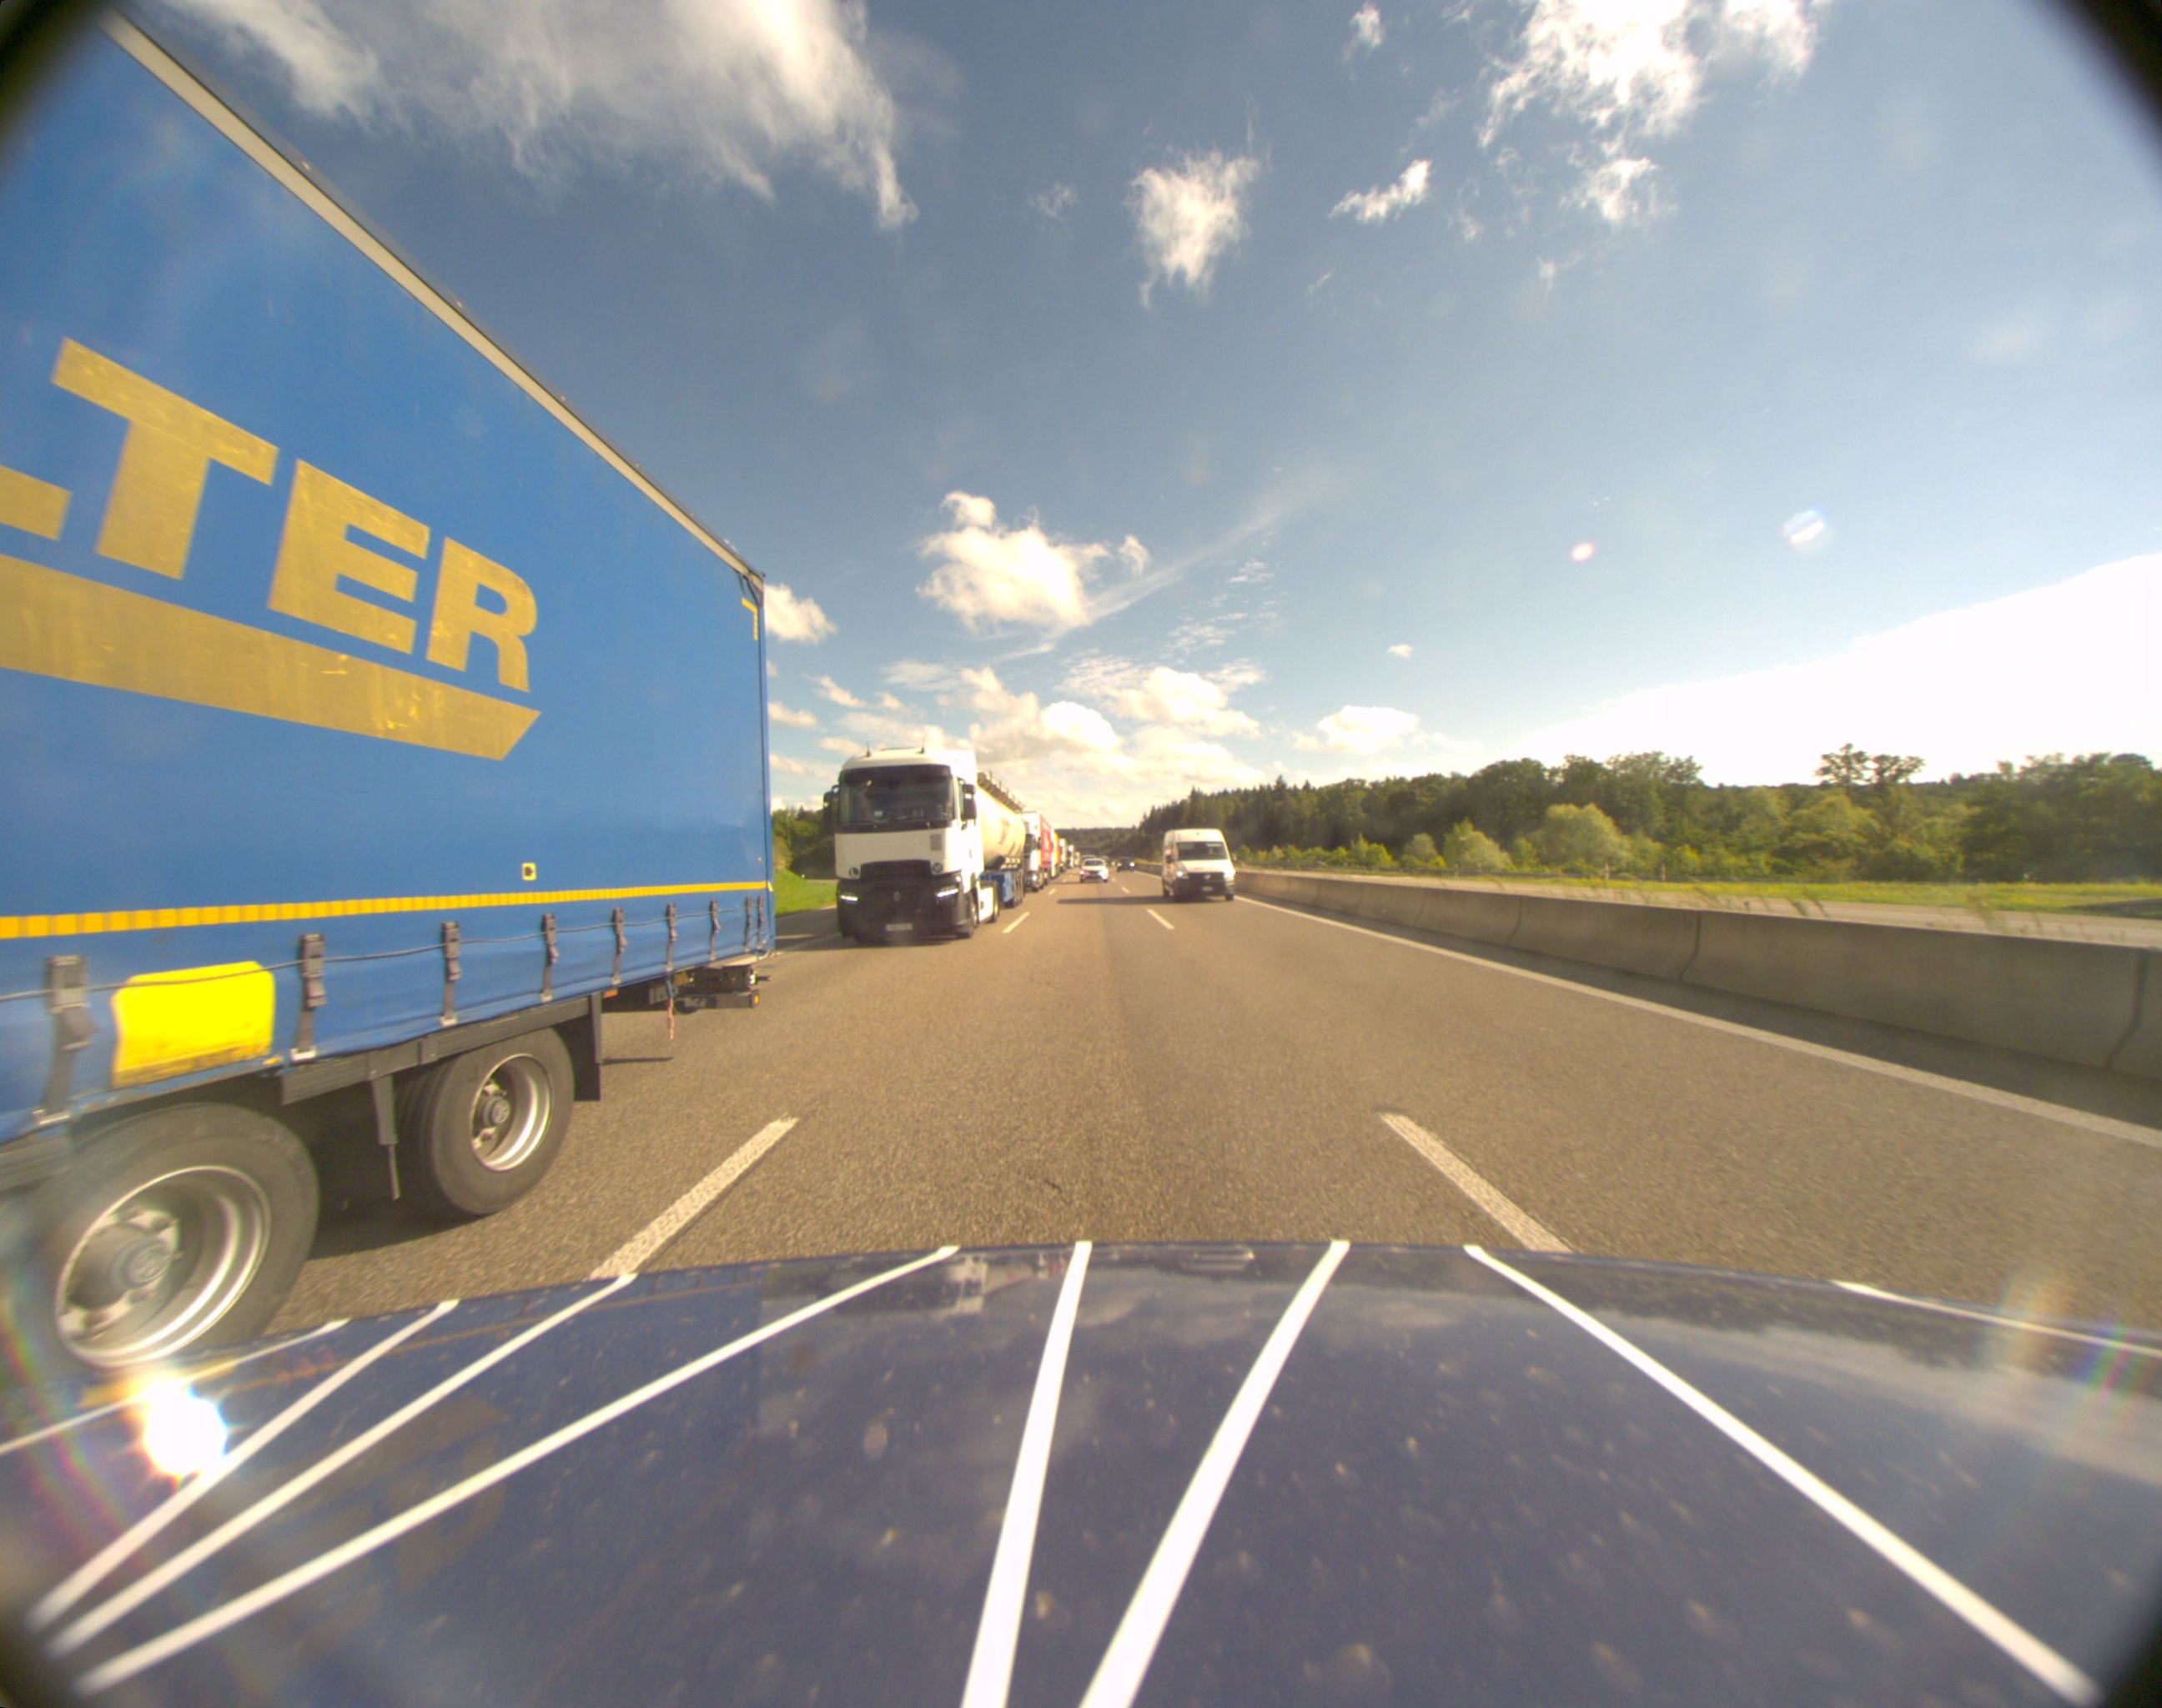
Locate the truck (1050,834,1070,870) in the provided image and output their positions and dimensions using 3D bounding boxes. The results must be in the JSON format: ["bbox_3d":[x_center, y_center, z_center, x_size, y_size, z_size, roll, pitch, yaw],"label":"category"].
[{"bbox_3d":[-2.453,-0.216,90.105,1.998,4.025,5.869,-2,1,1],"label":"truck"}]

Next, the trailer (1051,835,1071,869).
[{"bbox_3d":[-2.406,-0.265,94.259,1.998,3.999,7.344,-2,1,1],"label":"trailer"}]

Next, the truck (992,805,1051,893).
[{"bbox_3d":[-2.895,-0.189,38.311,2.371,3.996,6.106,-2,-1,0],"label":"truck"}]

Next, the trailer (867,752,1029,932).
[{"bbox_3d":[-3.365,-0.190,22.579,2.652,3.911,11.175,-2,-1,0],"label":"trailer"}]

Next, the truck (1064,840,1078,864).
[{"bbox_3d":[-1.728,-0.308,131.408,1.998,3.999,7.344,-2,1,1],"label":"truck"}]

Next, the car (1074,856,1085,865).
[{"bbox_3d":[-0.348,1.397,163.469,2.129,2.030,4.697,1,0,2],"label":"car"}]

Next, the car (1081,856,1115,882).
[{"bbox_3d":[1.171,0.916,49.702,2.026,1.510,5.299,-3,0,2],"label":"car"}]

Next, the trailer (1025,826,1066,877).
[{"bbox_3d":[-2.987,-0.241,68.093,2.624,3.977,13.365,-2,0,1],"label":"trailer"}]

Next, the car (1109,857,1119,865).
[{"bbox_3d":[6.261,1.259,144.002,1.778,1.451,4.158,1,1,1],"label":"car"}]

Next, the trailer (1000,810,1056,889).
[{"bbox_3d":[-2.901,-0.143,45.493,2.334,3.973,14.300,-1,-1,0],"label":"trailer"}]

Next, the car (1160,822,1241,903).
[{"bbox_3d":[4.208,0.249,27.801,2.020,2.584,6.181,-2,0,1],"label":"car"}]

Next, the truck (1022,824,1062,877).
[{"bbox_3d":[-3.094,-0.233,61.206,2.634,3.959,5.956,-2,0,1],"label":"truck"}]

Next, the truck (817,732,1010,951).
[{"bbox_3d":[-3.397,-0.176,17.394,2.655,3.901,6.943,-2,-1,0],"label":"truck"}]

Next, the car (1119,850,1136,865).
[{"bbox_3d":[5.376,0.384,87.533,1.778,1.533,4.158,1,1,1],"label":"car"}]
